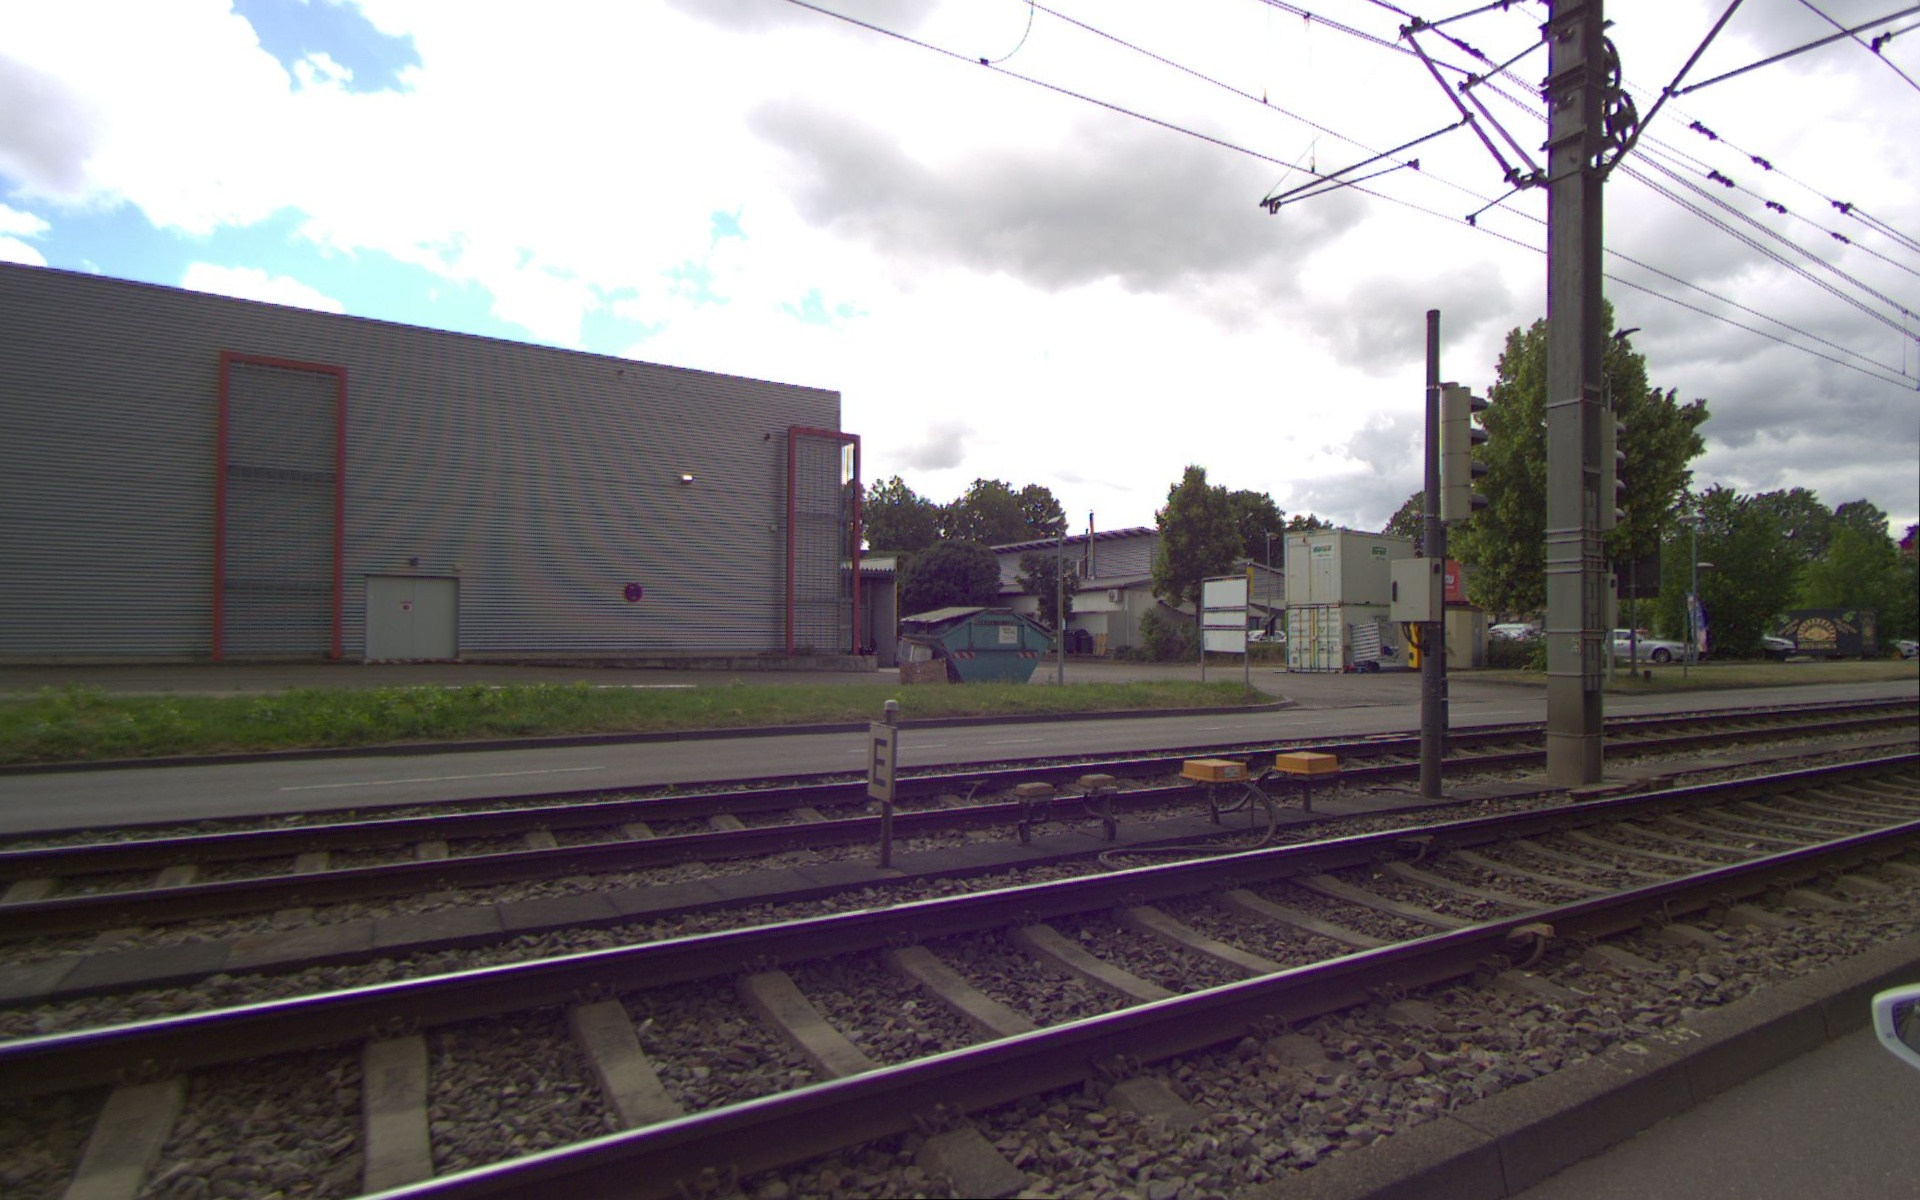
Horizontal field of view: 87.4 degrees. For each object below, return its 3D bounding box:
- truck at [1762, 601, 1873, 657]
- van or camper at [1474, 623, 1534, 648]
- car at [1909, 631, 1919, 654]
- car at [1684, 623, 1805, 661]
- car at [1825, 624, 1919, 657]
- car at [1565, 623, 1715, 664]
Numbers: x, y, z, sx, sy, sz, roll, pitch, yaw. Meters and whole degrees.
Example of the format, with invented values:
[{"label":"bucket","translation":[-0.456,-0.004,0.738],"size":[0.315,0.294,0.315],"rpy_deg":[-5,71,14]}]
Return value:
[{"label":"truck","translation":[45.433,1.563,53.287],"size":[2.350,2.859,3.965],"rpy_deg":[1,-2,-32]},{"label":"van or camper","translation":[47.529,3.115,87.787],"size":[1.803,2.173,4.235],"rpy_deg":[1,-2,-34]},{"label":"car","translation":[65.387,2.796,65.884],"size":[1.662,1.491,4.284],"rpy_deg":[1,-2,-32]},{"label":"car","translation":[37.885,2.024,48.629],"size":[1.973,1.750,4.199],"rpy_deg":[1,-2,-32]},{"label":"car","translation":[53.255,2.355,58.561],"size":[1.859,1.821,3.963],"rpy_deg":[1,-2,-34]},{"label":"car","translation":[29.536,1.857,43.807],"size":[2.620,1.650,4.761],"rpy_deg":[0,-2,-29]}]
